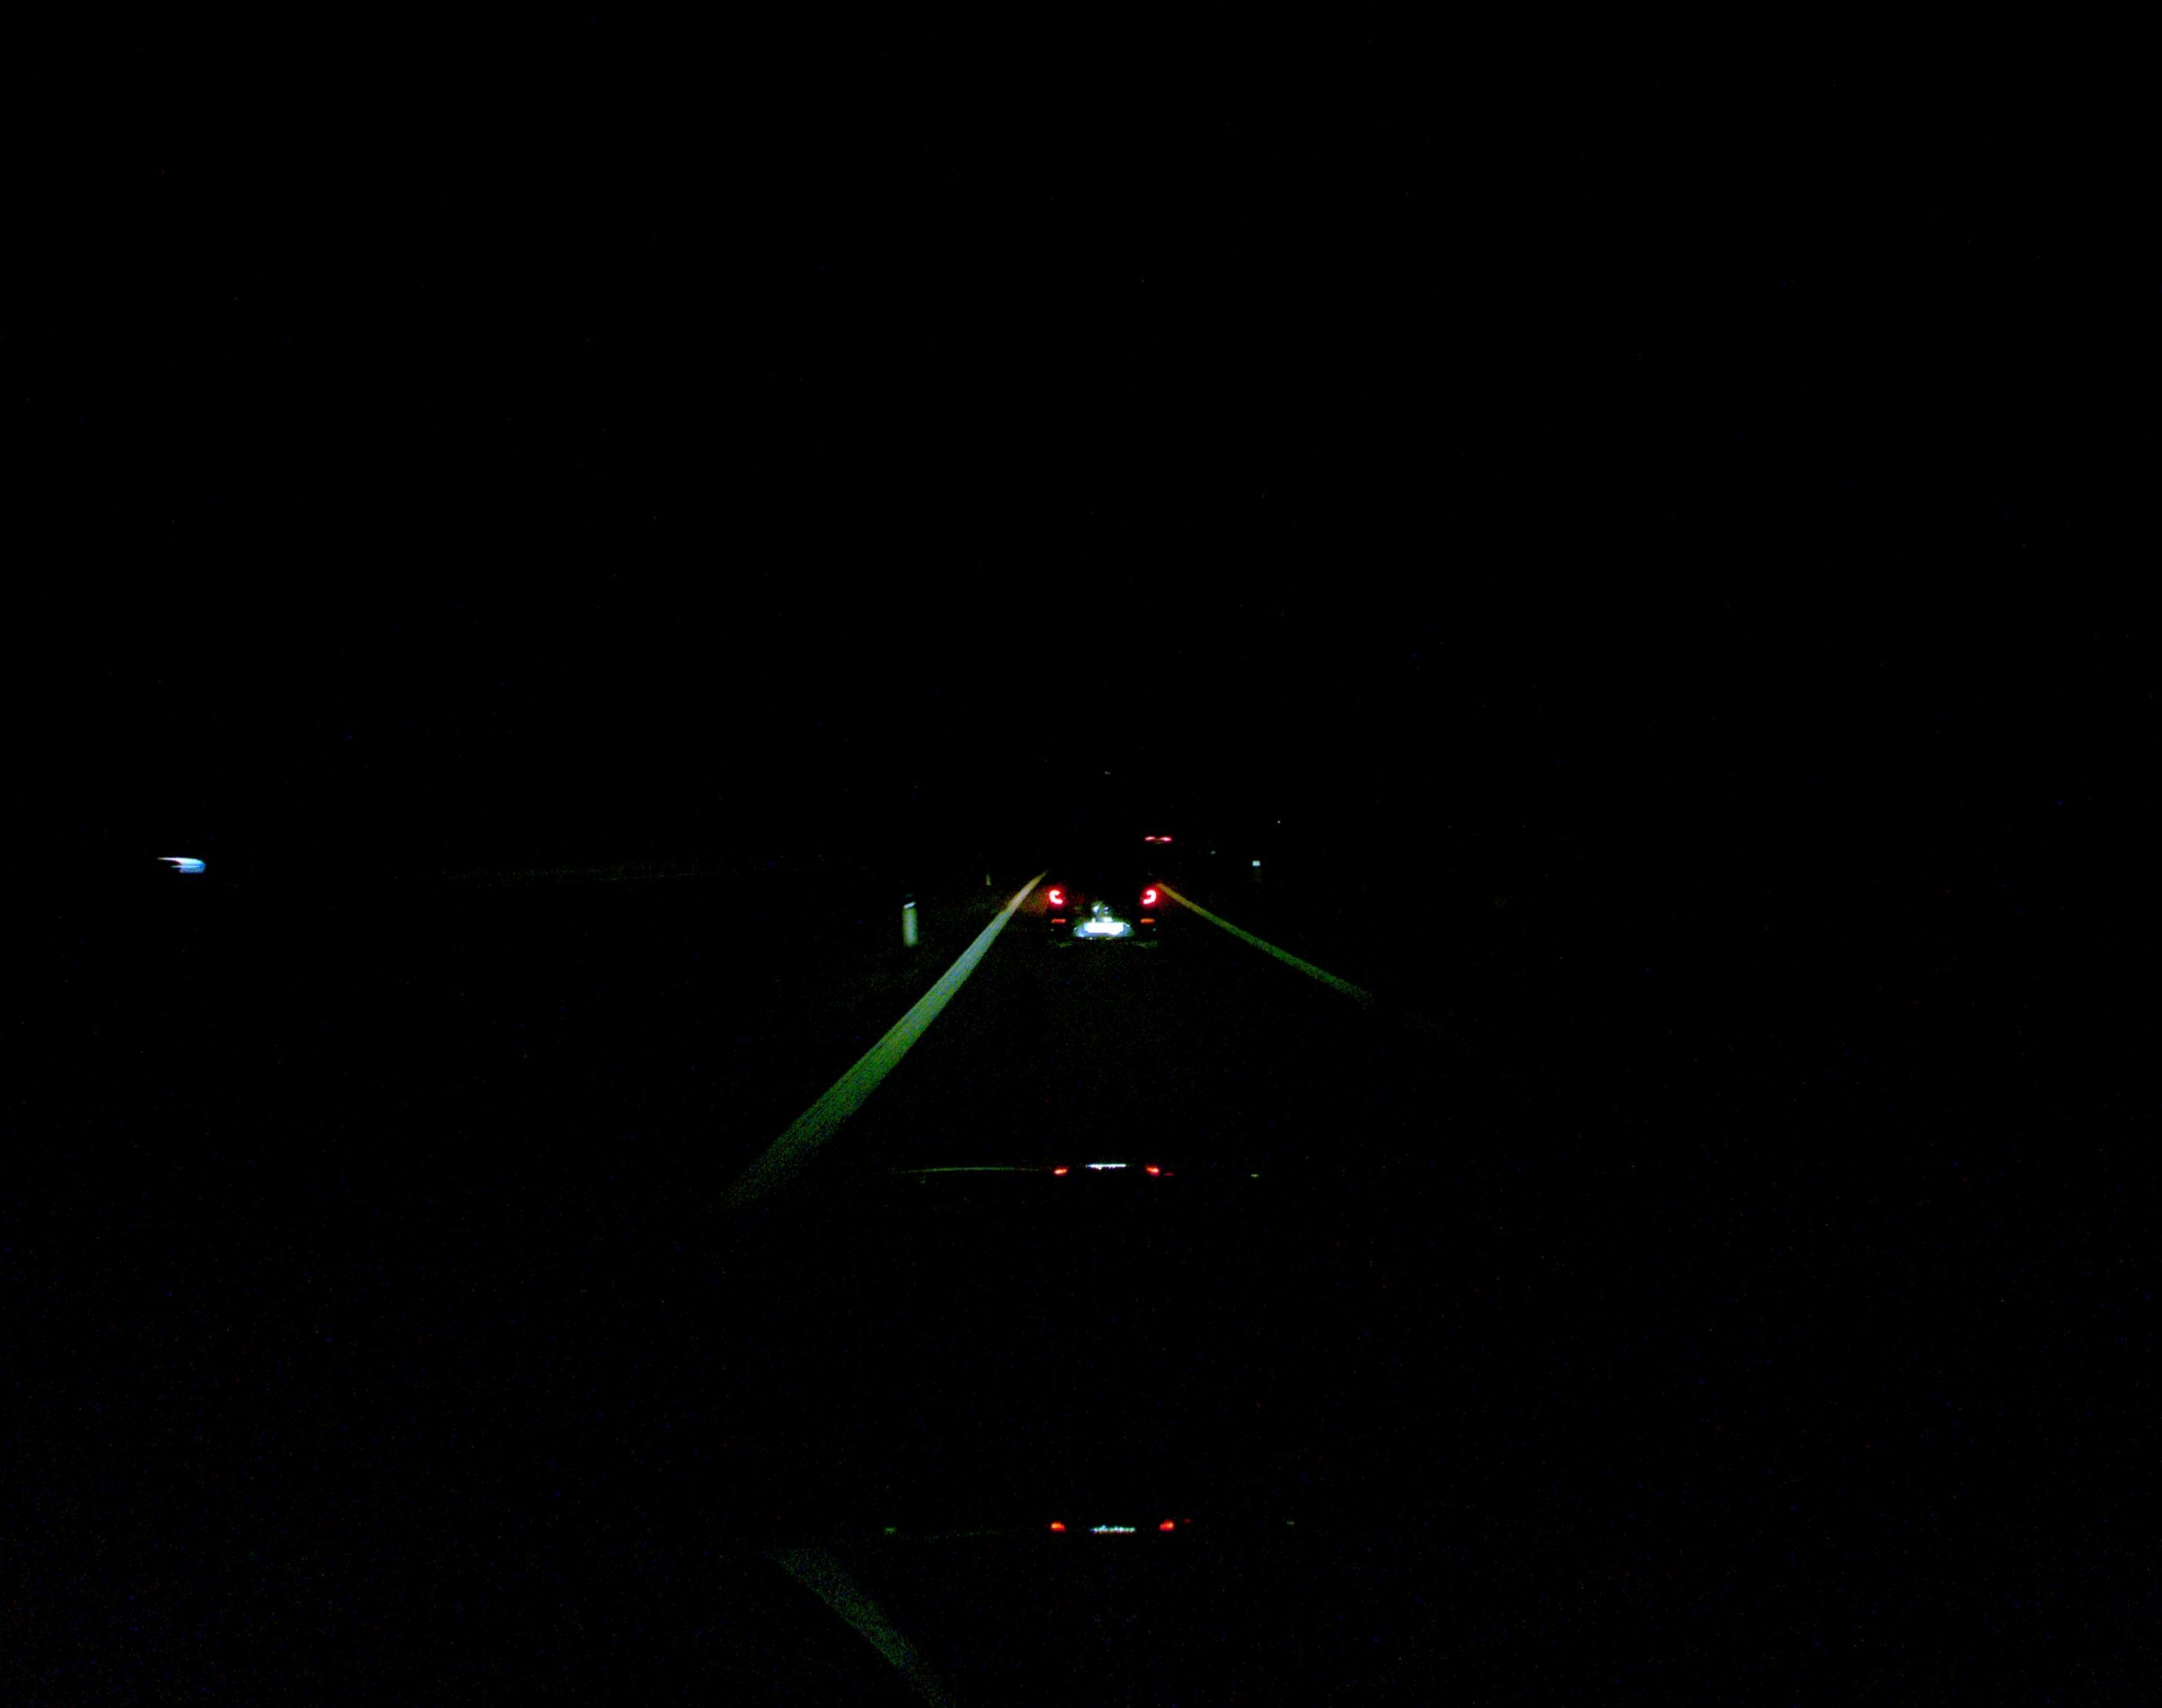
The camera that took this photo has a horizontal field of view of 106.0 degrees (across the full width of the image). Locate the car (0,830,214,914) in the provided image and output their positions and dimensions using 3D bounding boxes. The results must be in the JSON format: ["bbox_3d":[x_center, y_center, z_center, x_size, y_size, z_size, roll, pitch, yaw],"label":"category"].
[{"bbox_3d":[-21.984,0.322,17.181,1.923,1.608,4.671,3,3,26],"label":"car"}]

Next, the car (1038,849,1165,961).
[{"bbox_3d":[0.360,0.676,12.891,1.684,1.477,4.003,-1,0,2],"label":"car"}]

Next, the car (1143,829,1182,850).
[{"bbox_3d":[6.408,-1.137,63.658,1.935,1.538,4.263,-2,0,20],"label":"car"}]

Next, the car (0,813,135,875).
[{"bbox_3d":[-33.327,-0.326,25.780,1.794,1.886,4.024,0,2,25],"label":"car"}]
